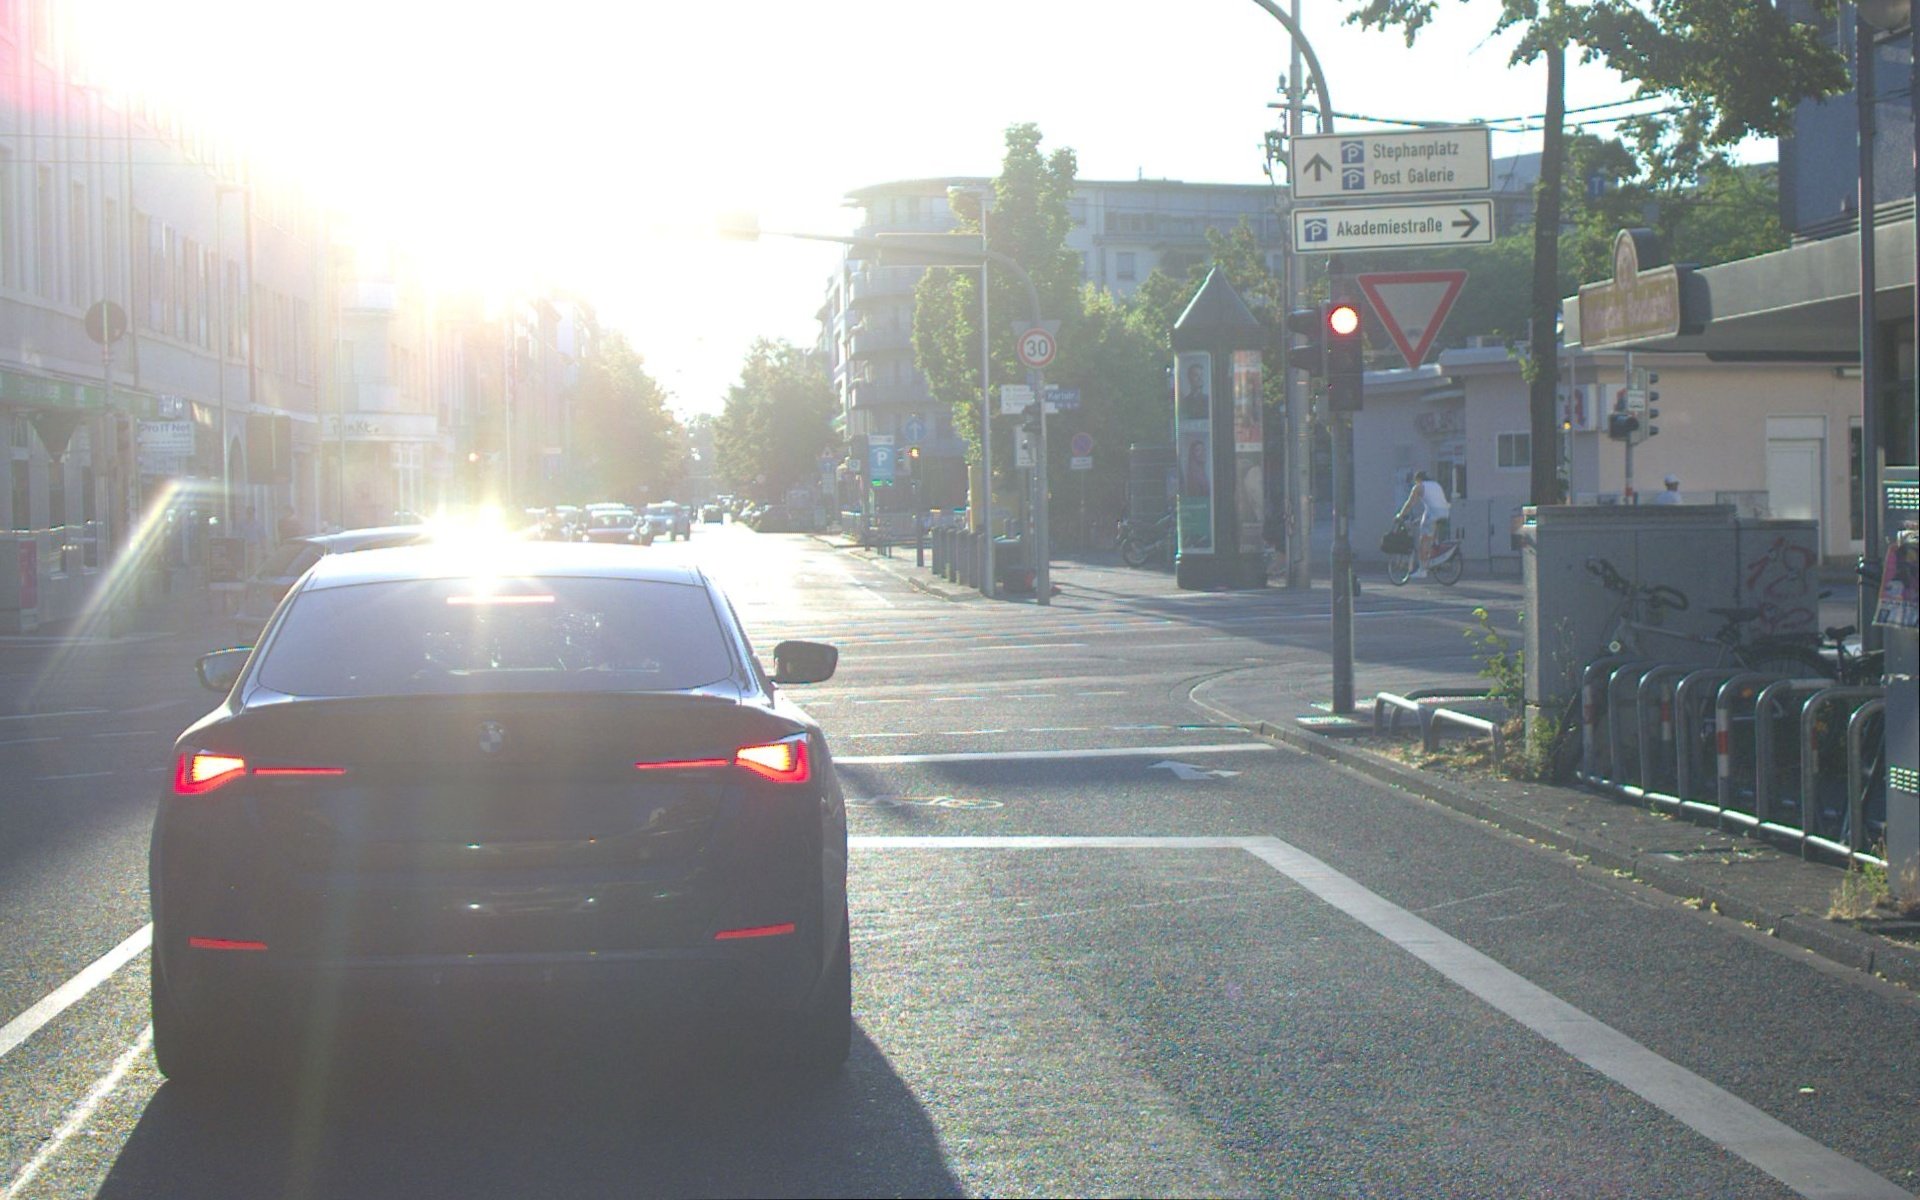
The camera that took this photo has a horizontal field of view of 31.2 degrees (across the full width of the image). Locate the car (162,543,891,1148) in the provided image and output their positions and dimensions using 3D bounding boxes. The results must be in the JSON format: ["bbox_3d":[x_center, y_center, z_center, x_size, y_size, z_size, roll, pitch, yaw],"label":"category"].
[{"bbox_3d":[-1.202,0.552,10.369,1.736,1.424,4.224,0,1,-5],"label":"car"}]

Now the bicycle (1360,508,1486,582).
[{"bbox_3d":[7.352,-0.875,54.727,0.550,1.155,2.143,0,1,-41],"label":"bicycle"}]

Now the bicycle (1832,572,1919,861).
[{"bbox_3d":[4.536,0.501,14.799,1.441,1.216,0.383,1,1,-2],"label":"bicycle"}]

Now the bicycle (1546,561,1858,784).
[{"bbox_3d":[4.018,0.386,18.641,1.613,1.167,0.318,-1,2,-1],"label":"bicycle"}]

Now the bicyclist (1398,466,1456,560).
[{"bbox_3d":[7.420,-1.383,54.644,0.550,1.476,0.722,0,1,-41],"label":"bicyclist"}]

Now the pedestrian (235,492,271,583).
[{"bbox_3d":[-14.665,-1.293,71.319,0.643,1.870,0.632,1,1,-4],"label":"pedestrian"}]

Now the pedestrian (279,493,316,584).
[{"bbox_3d":[-13.798,-1.288,71.627,0.676,1.870,0.618,1,1,-4],"label":"pedestrian"}]

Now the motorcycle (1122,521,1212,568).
[{"bbox_3d":[4.298,-1.165,71.298,1.668,0.935,0.856,-1,2,-14],"label":"motorcycle"}]

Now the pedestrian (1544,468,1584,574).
[{"bbox_3d":[9.948,-1.306,56.647,0.442,1.729,0.434,0,1,-28],"label":"pedestrian"}]

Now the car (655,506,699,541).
[{"bbox_3d":[-12.674,-3.421,154.042,1.817,1.514,4.001,-1,2,-3],"label":"car"}]

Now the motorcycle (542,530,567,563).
[{"bbox_3d":[-11.662,-1.538,98.919,0.575,0.912,2.201,1,1,-3],"label":"motorcycle"}]

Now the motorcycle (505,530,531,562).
[{"bbox_3d":[-12.776,-1.567,99.389,0.575,0.912,2.201,1,1,-3],"label":"motorcycle"}]

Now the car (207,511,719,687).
[{"bbox_3d":[-4.657,-0.057,32.302,4.306,1.493,2.000,-2,2,-29],"label":"car"}]

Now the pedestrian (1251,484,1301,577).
[{"bbox_3d":[5.205,-1.146,56.696,0.732,1.523,0.473,1,1,-3],"label":"pedestrian"}]

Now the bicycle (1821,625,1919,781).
[{"bbox_3d":[5.006,0.554,18.849,0.249,0.793,1.115,1,1,-2],"label":"bicycle"}]

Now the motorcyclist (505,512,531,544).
[{"bbox_3d":[-12.767,-2.095,99.315,0.575,0.912,2.201,1,1,-3],"label":"motorcyclist"}]

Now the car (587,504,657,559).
[{"bbox_3d":[-9.776,-1.989,99.551,1.817,1.514,4.001,-1,2,-3],"label":"car"}]

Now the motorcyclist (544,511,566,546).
[{"bbox_3d":[-11.639,-2.065,98.797,0.575,0.992,0.703,1,1,-3],"label":"motorcyclist"}]

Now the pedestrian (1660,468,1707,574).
[{"bbox_3d":[11.855,-1.290,56.339,0.478,1.729,0.531,0,1,-28],"label":"pedestrian"}]
